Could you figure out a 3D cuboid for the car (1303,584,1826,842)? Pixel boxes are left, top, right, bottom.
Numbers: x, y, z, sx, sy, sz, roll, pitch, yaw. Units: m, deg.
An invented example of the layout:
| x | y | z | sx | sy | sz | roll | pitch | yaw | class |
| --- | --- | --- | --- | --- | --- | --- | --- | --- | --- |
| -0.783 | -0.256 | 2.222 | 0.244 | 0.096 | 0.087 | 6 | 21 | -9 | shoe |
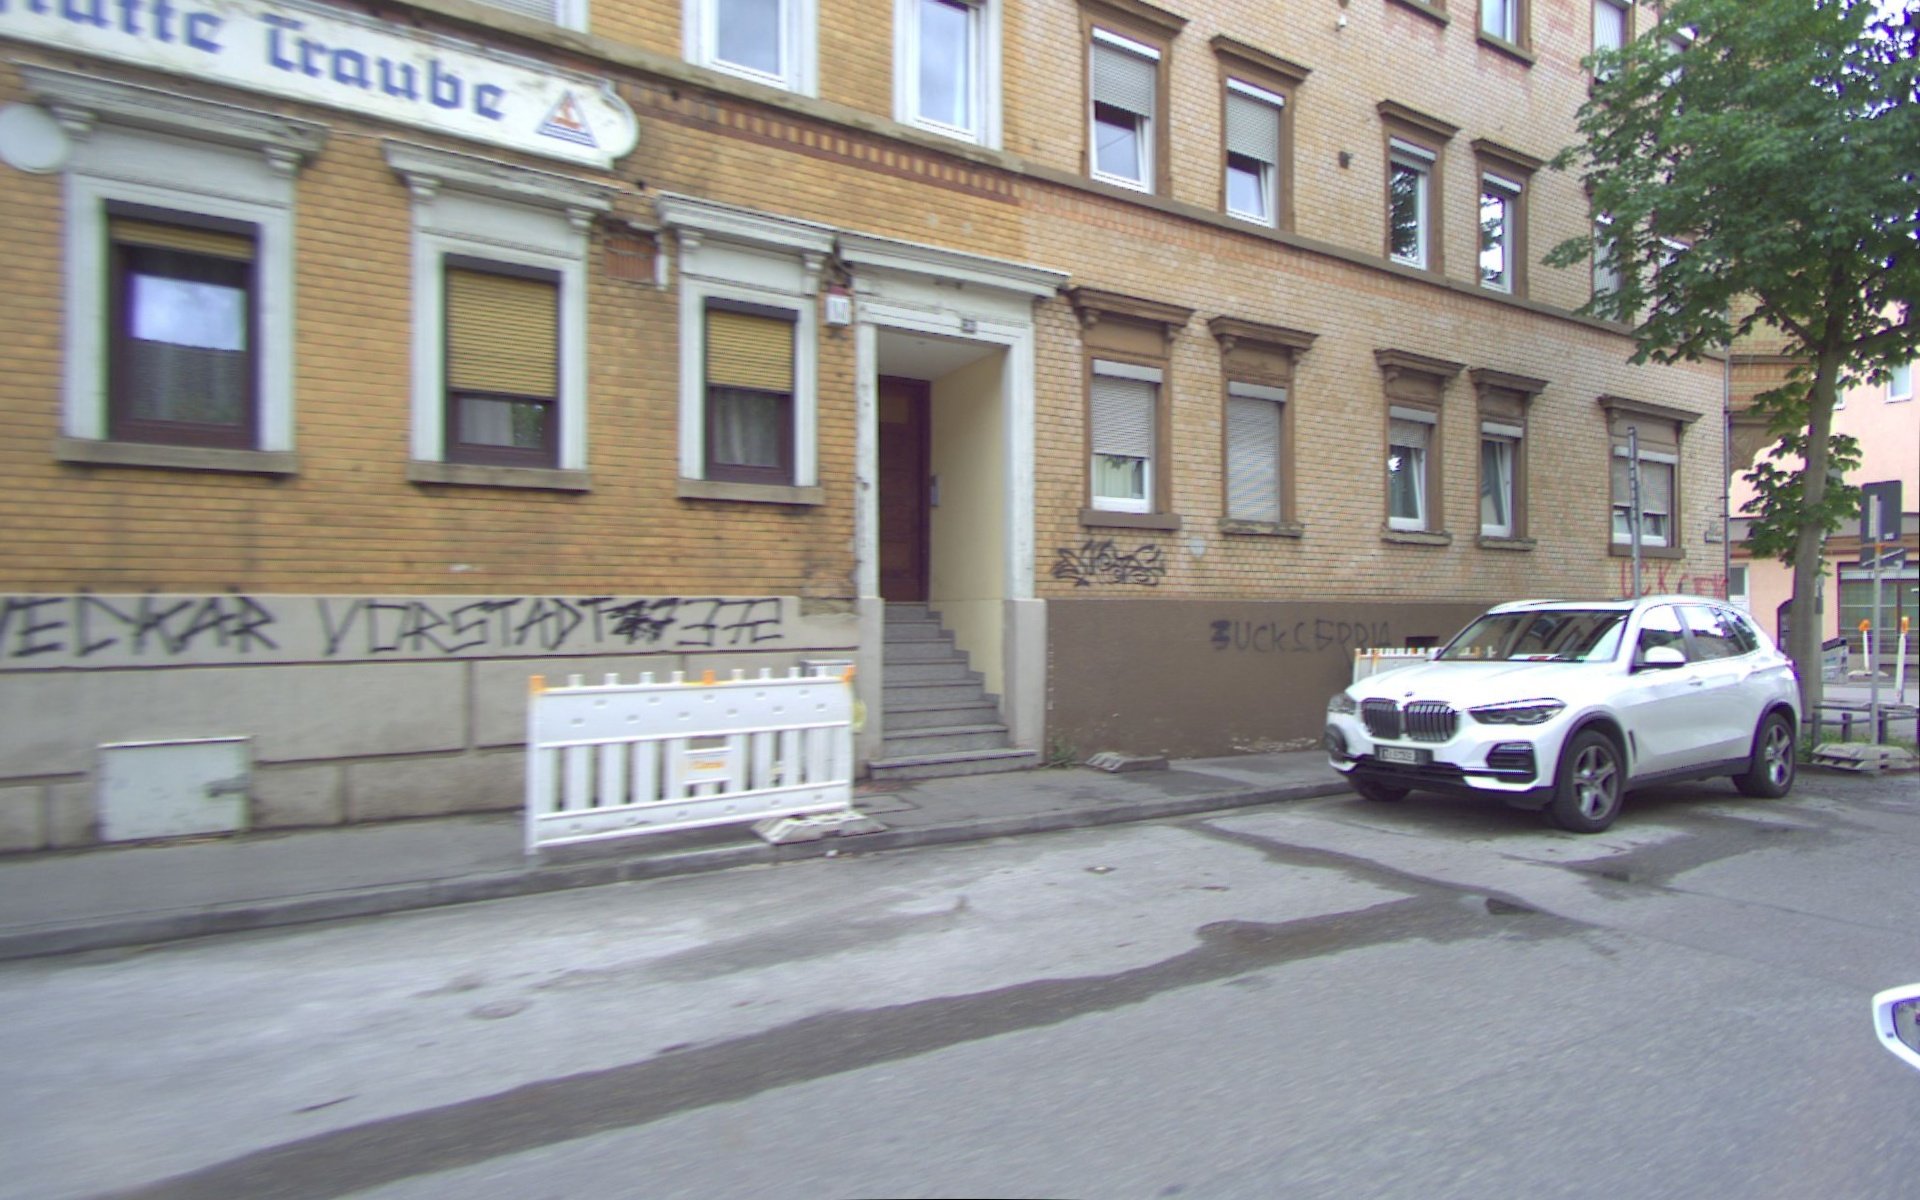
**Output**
| x | y | z | sx | sy | sz | roll | pitch | yaw | class |
| --- | --- | --- | --- | --- | --- | --- | --- | --- | --- |
| 5.371 | 0.828 | 8.781 | 4.685 | 1.735 | 1.882 | 1 | -3 | -30 | car |
